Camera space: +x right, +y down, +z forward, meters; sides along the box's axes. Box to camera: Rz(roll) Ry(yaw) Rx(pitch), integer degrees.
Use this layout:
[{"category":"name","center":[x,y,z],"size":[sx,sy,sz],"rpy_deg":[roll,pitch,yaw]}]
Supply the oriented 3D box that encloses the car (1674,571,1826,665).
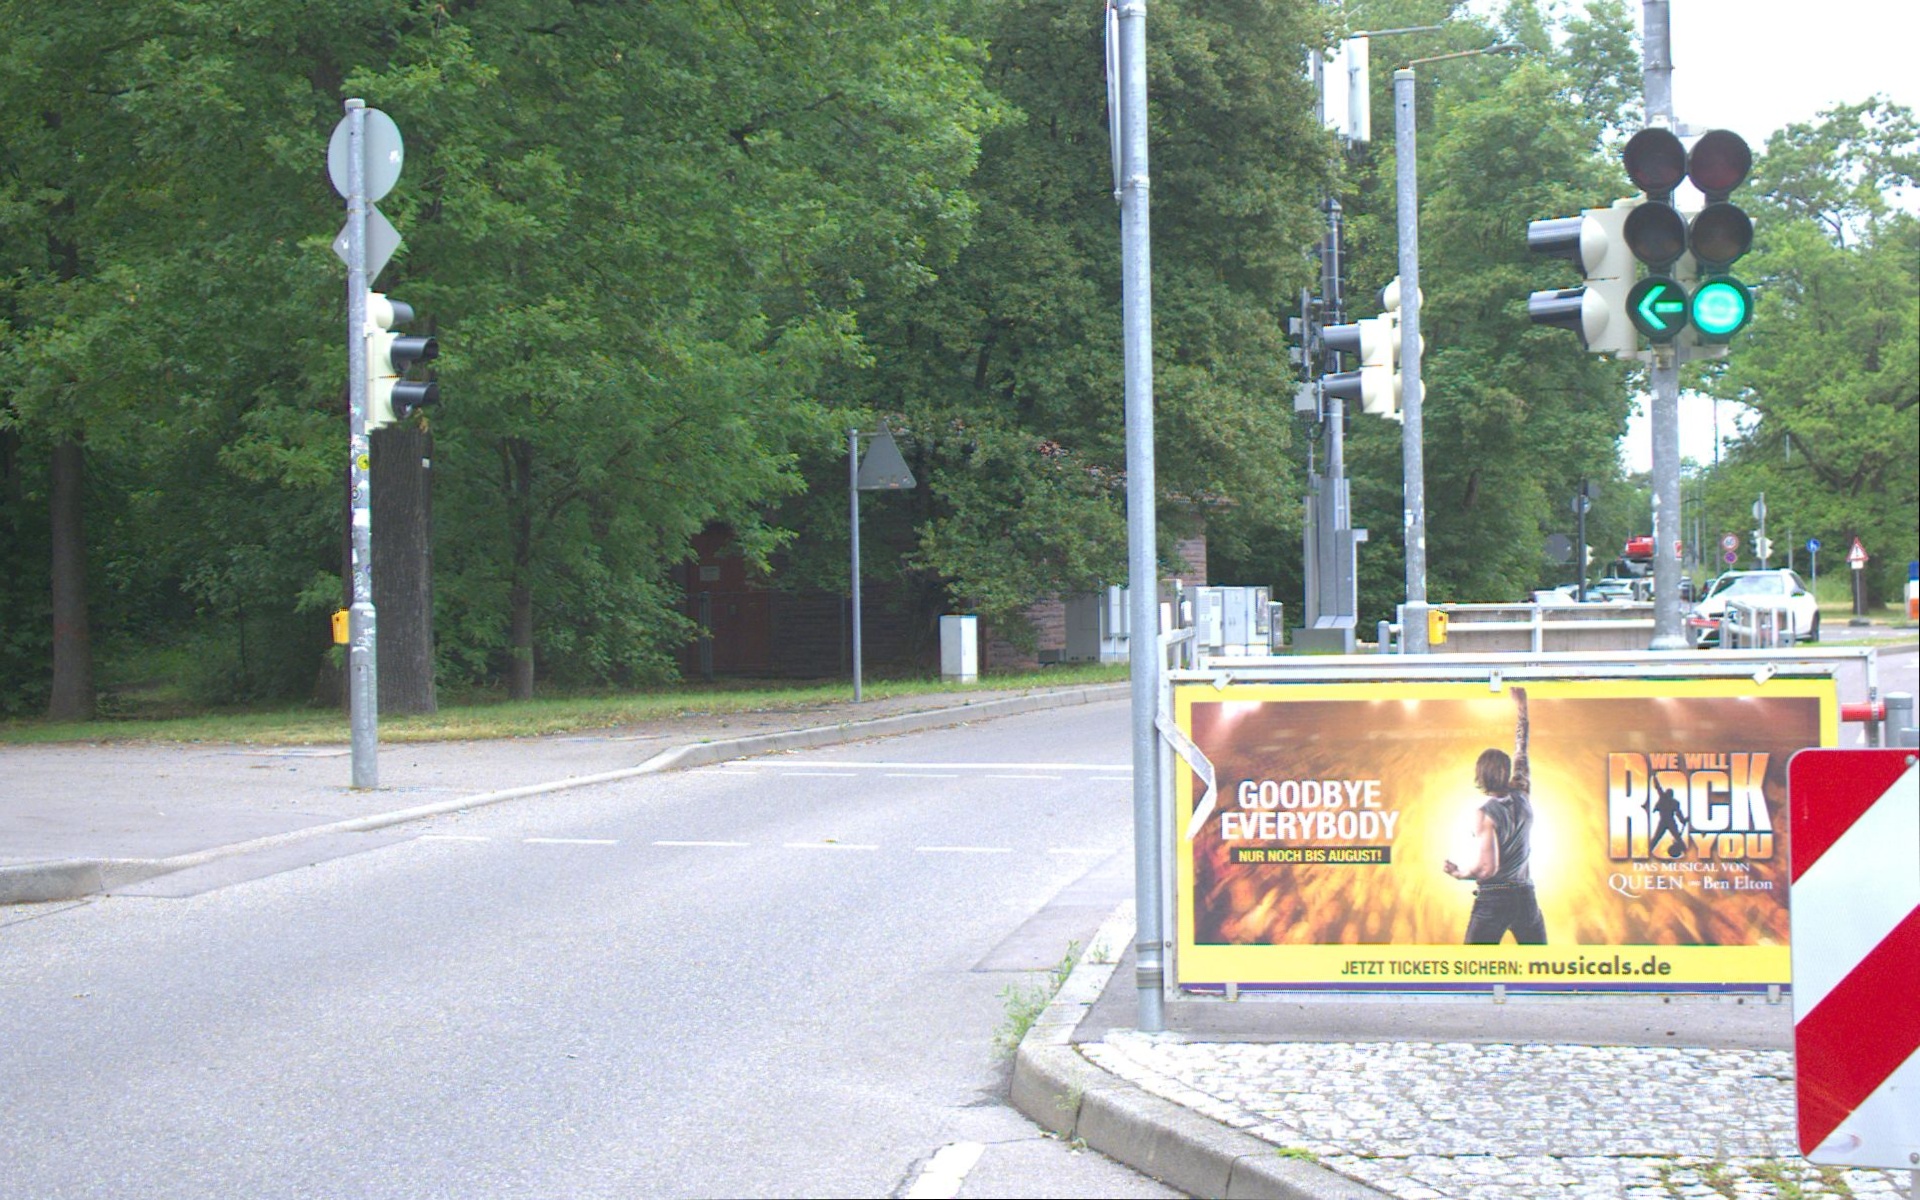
[{"category":"car","center":[15.358,0.345,66.701],"size":[1.996,1.744,4.573],"rpy_deg":[1,0,24]}]
